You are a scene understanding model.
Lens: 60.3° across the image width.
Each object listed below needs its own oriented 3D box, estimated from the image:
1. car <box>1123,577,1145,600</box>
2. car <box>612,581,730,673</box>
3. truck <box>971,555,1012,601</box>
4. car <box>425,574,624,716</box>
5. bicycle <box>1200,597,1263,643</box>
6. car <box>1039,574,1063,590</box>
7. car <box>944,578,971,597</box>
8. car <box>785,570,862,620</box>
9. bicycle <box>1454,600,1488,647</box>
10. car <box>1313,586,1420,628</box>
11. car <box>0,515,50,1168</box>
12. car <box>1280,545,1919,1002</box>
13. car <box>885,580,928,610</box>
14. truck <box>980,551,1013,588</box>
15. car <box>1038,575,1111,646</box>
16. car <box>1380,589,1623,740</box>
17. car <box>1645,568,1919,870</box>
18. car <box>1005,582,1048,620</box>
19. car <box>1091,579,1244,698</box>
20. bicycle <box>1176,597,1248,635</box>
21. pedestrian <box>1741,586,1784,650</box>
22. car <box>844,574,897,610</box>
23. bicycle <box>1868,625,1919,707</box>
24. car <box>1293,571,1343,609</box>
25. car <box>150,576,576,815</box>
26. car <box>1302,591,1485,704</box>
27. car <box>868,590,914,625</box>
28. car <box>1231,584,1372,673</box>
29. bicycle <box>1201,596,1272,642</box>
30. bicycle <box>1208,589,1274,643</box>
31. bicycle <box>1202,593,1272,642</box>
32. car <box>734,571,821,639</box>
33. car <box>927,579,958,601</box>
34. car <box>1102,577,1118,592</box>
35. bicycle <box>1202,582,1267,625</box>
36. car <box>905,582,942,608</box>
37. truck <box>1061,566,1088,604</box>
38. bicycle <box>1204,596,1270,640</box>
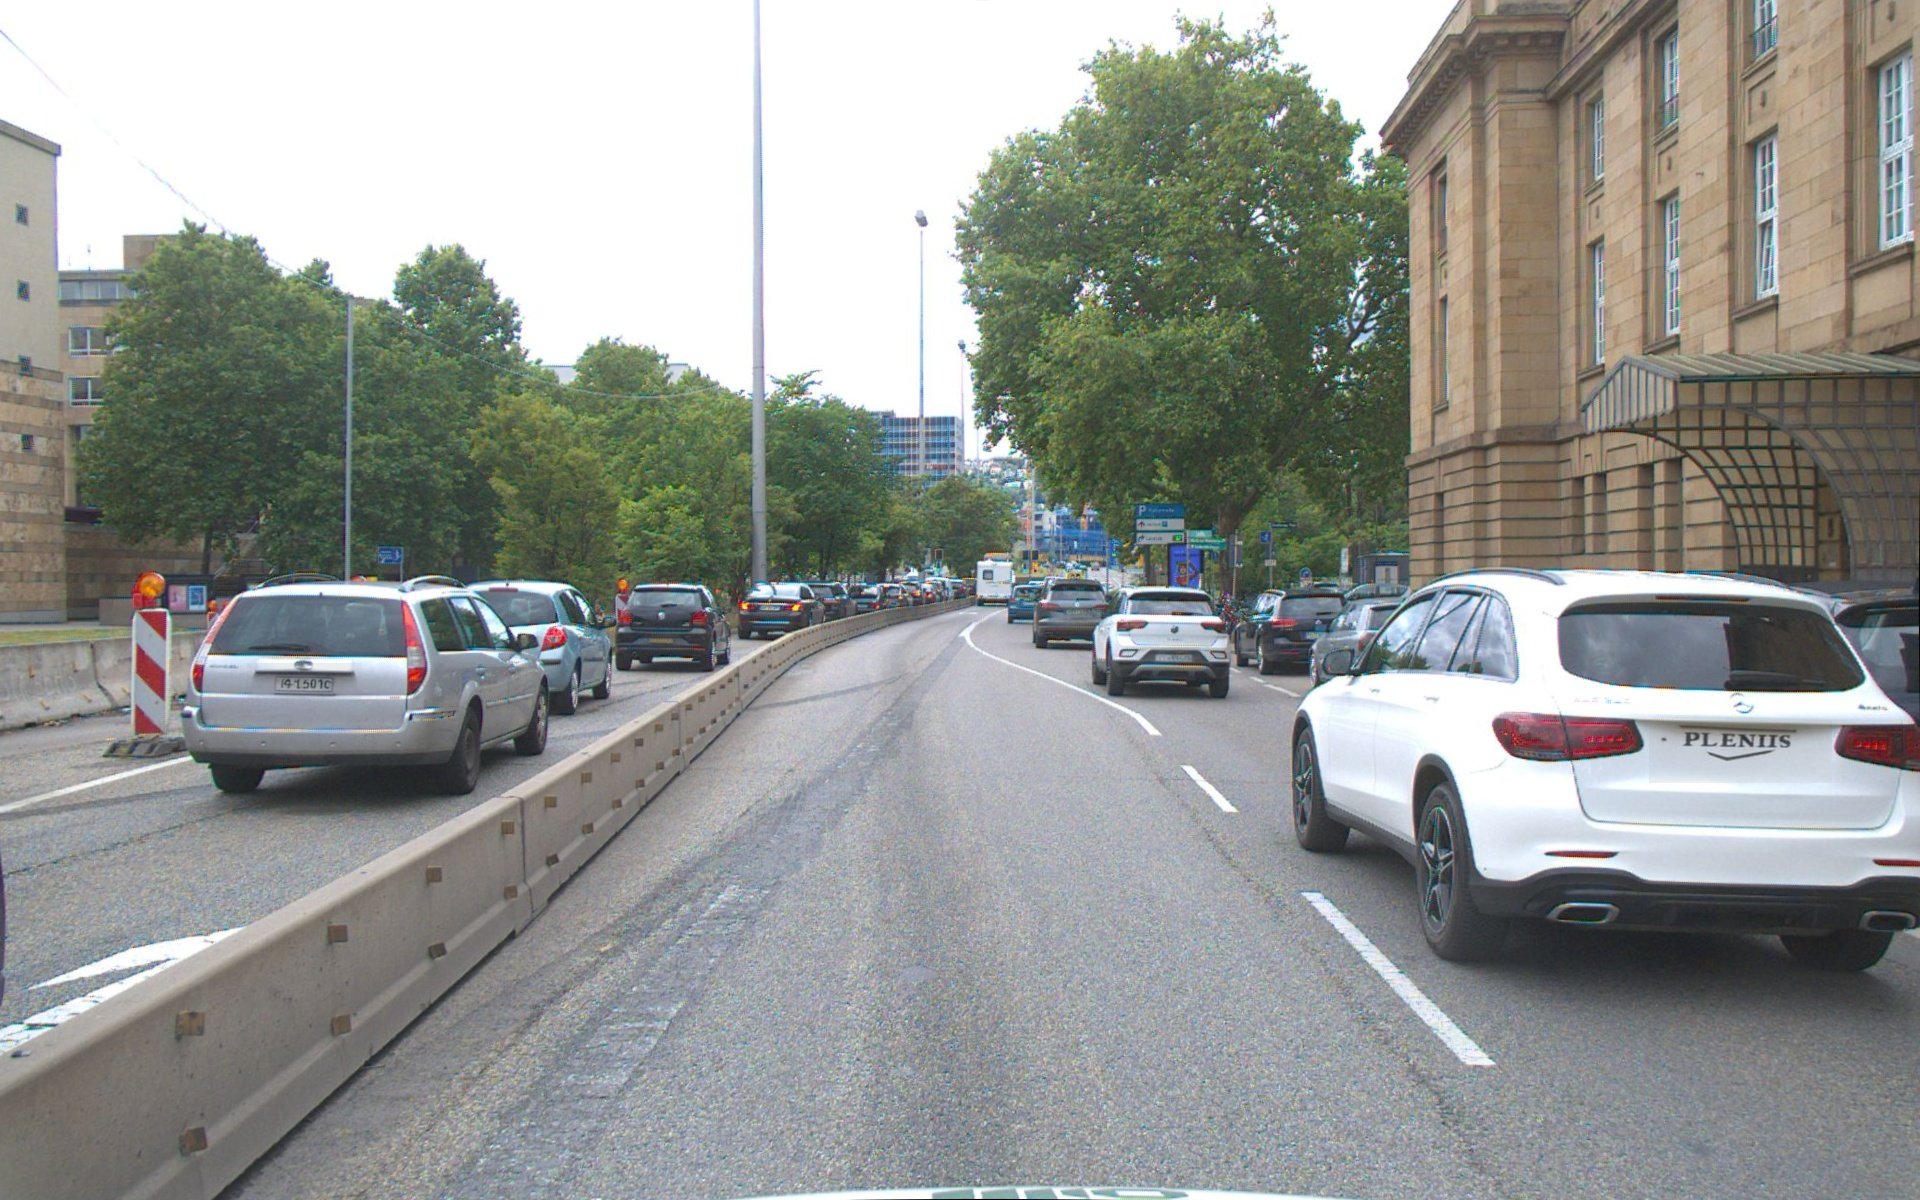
[{"bbox_3d":[16.491,-1.088,156.774,1.951,2.049,4.002,1,0,5],"label":"car"},{"bbox_3d":[-5.003,0.426,29.080,1.626,1.479,4.194,1,0,-5],"label":"car"},{"bbox_3d":[2.172,-1.480,112.021,2.566,2.911,7.081,1,1,3],"label":"truck"},{"bbox_3d":[-5.157,0.485,20.029,1.639,1.533,3.851,1,0,-4],"label":"car"},{"bbox_3d":[7.014,0.508,42.656,1.587,1.150,0.467,1,0,-23],"label":"bicycle"},{"bbox_3d":[7.911,-1.534,143.721,1.906,1.342,4.019,1,0,5],"label":"car"},{"bbox_3d":[-0.189,-0.871,117.041,1.624,1.342,3.549,1,0,5],"label":"car"},{"bbox_3d":[-4.295,-0.160,52.620,1.778,1.525,4.771,0,0,3],"label":"car"},{"bbox_3d":[11.412,0.507,36.958,0.235,1.015,1.963,0,0,3],"label":"bicycle"},{"bbox_3d":[15.646,0.252,63.748,3.755,1.596,1.680,0,0,3],"label":"car"},{"bbox_3d":[-3.228,0.602,2.317,1.740,1.649,4.045,1,0,-2],"label":"car"},{"bbox_3d":[2.869,0.617,8.207,1.751,1.653,4.438,0,0,1],"label":"car"},{"bbox_3d":[-2.598,-0.269,81.188,1.738,1.445,4.002,0,1,3],"label":"car"},{"bbox_3d":[3.202,-2.614,142.647,2.636,3.044,5.640,2,0,3],"label":"truck"},{"bbox_3d":[2.815,0.247,41.247,1.625,1.668,3.548,1,0,1],"label":"car"},{"bbox_3d":[5.937,0.636,18.568,1.582,1.480,3.860,-1,0,2],"label":"car"},{"bbox_3d":[5.886,0.613,10.772,1.513,1.579,3.711,-3,0,5],"label":"car"},{"bbox_3d":[2.613,0.045,64.768,1.624,1.438,3.549,1,0,3],"label":"car"},{"bbox_3d":[3.046,0.523,24.919,1.759,1.636,3.754,1,0,-1],"label":"car"},{"bbox_3d":[6.336,0.393,41.517,1.693,0.933,0.613,0,0,22],"label":"bicycle"},{"bbox_3d":[11.313,0.249,23.317,0.420,0.889,0.373,2,0,4],"label":"pedestrian"},{"bbox_3d":[-3.528,-0.343,66.067,1.643,1.390,4.545,0,1,3],"label":"car"},{"bbox_3d":[10.321,0.711,17.693,0.299,0.859,1.879,2,0,4],"label":"bicycle"},{"bbox_3d":[16.466,-0.466,76.253,1.723,1.578,4.030,0,3,4],"label":"car"},{"bbox_3d":[-4.345,0.601,12.897,1.841,1.507,4.701,1,0,-3],"label":"car"},{"bbox_3d":[6.098,0.617,23.704,1.673,1.451,3.998,-1,0,2],"label":"car"},{"bbox_3d":[-3.004,0.321,72.541,1.626,1.461,3.962,1,0,3],"label":"car"},{"bbox_3d":[6.247,0.476,30.713,1.751,1.512,4.326,1,0,1],"label":"car"},{"bbox_3d":[6.795,0.456,40.690,1.629,1.093,0.585,1,0,23],"label":"bicycle"},{"bbox_3d":[7.000,0.393,41.230,1.511,1.278,0.543,1,0,22],"label":"bicycle"},{"bbox_3d":[7.322,0.453,43.745,1.721,1.230,0.604,1,0,0],"label":"bicycle"},{"bbox_3d":[-4.771,0.108,43.847,1.885,1.664,4.935,1,0,-2],"label":"car"},{"bbox_3d":[-1.088,-0.646,103.951,1.624,1.342,3.549,1,0,5],"label":"car"},{"bbox_3d":[16.451,-1.705,181.544,1.721,1.698,4.170,0,1,4],"label":"car"},{"bbox_3d":[7.401,0.093,44.597,1.691,1.110,0.381,1,0,16],"label":"bicycle"},{"bbox_3d":[-1.932,-0.249,88.736,1.624,1.342,3.549,1,0,4],"label":"car"},{"bbox_3d":[12.979,-1.730,187.680,2.817,4.174,6.641,1,0,3],"label":"truck"},{"bbox_3d":[7.405,0.482,44.199,1.691,1.110,0.575,1,0,12],"label":"bicycle"}]
